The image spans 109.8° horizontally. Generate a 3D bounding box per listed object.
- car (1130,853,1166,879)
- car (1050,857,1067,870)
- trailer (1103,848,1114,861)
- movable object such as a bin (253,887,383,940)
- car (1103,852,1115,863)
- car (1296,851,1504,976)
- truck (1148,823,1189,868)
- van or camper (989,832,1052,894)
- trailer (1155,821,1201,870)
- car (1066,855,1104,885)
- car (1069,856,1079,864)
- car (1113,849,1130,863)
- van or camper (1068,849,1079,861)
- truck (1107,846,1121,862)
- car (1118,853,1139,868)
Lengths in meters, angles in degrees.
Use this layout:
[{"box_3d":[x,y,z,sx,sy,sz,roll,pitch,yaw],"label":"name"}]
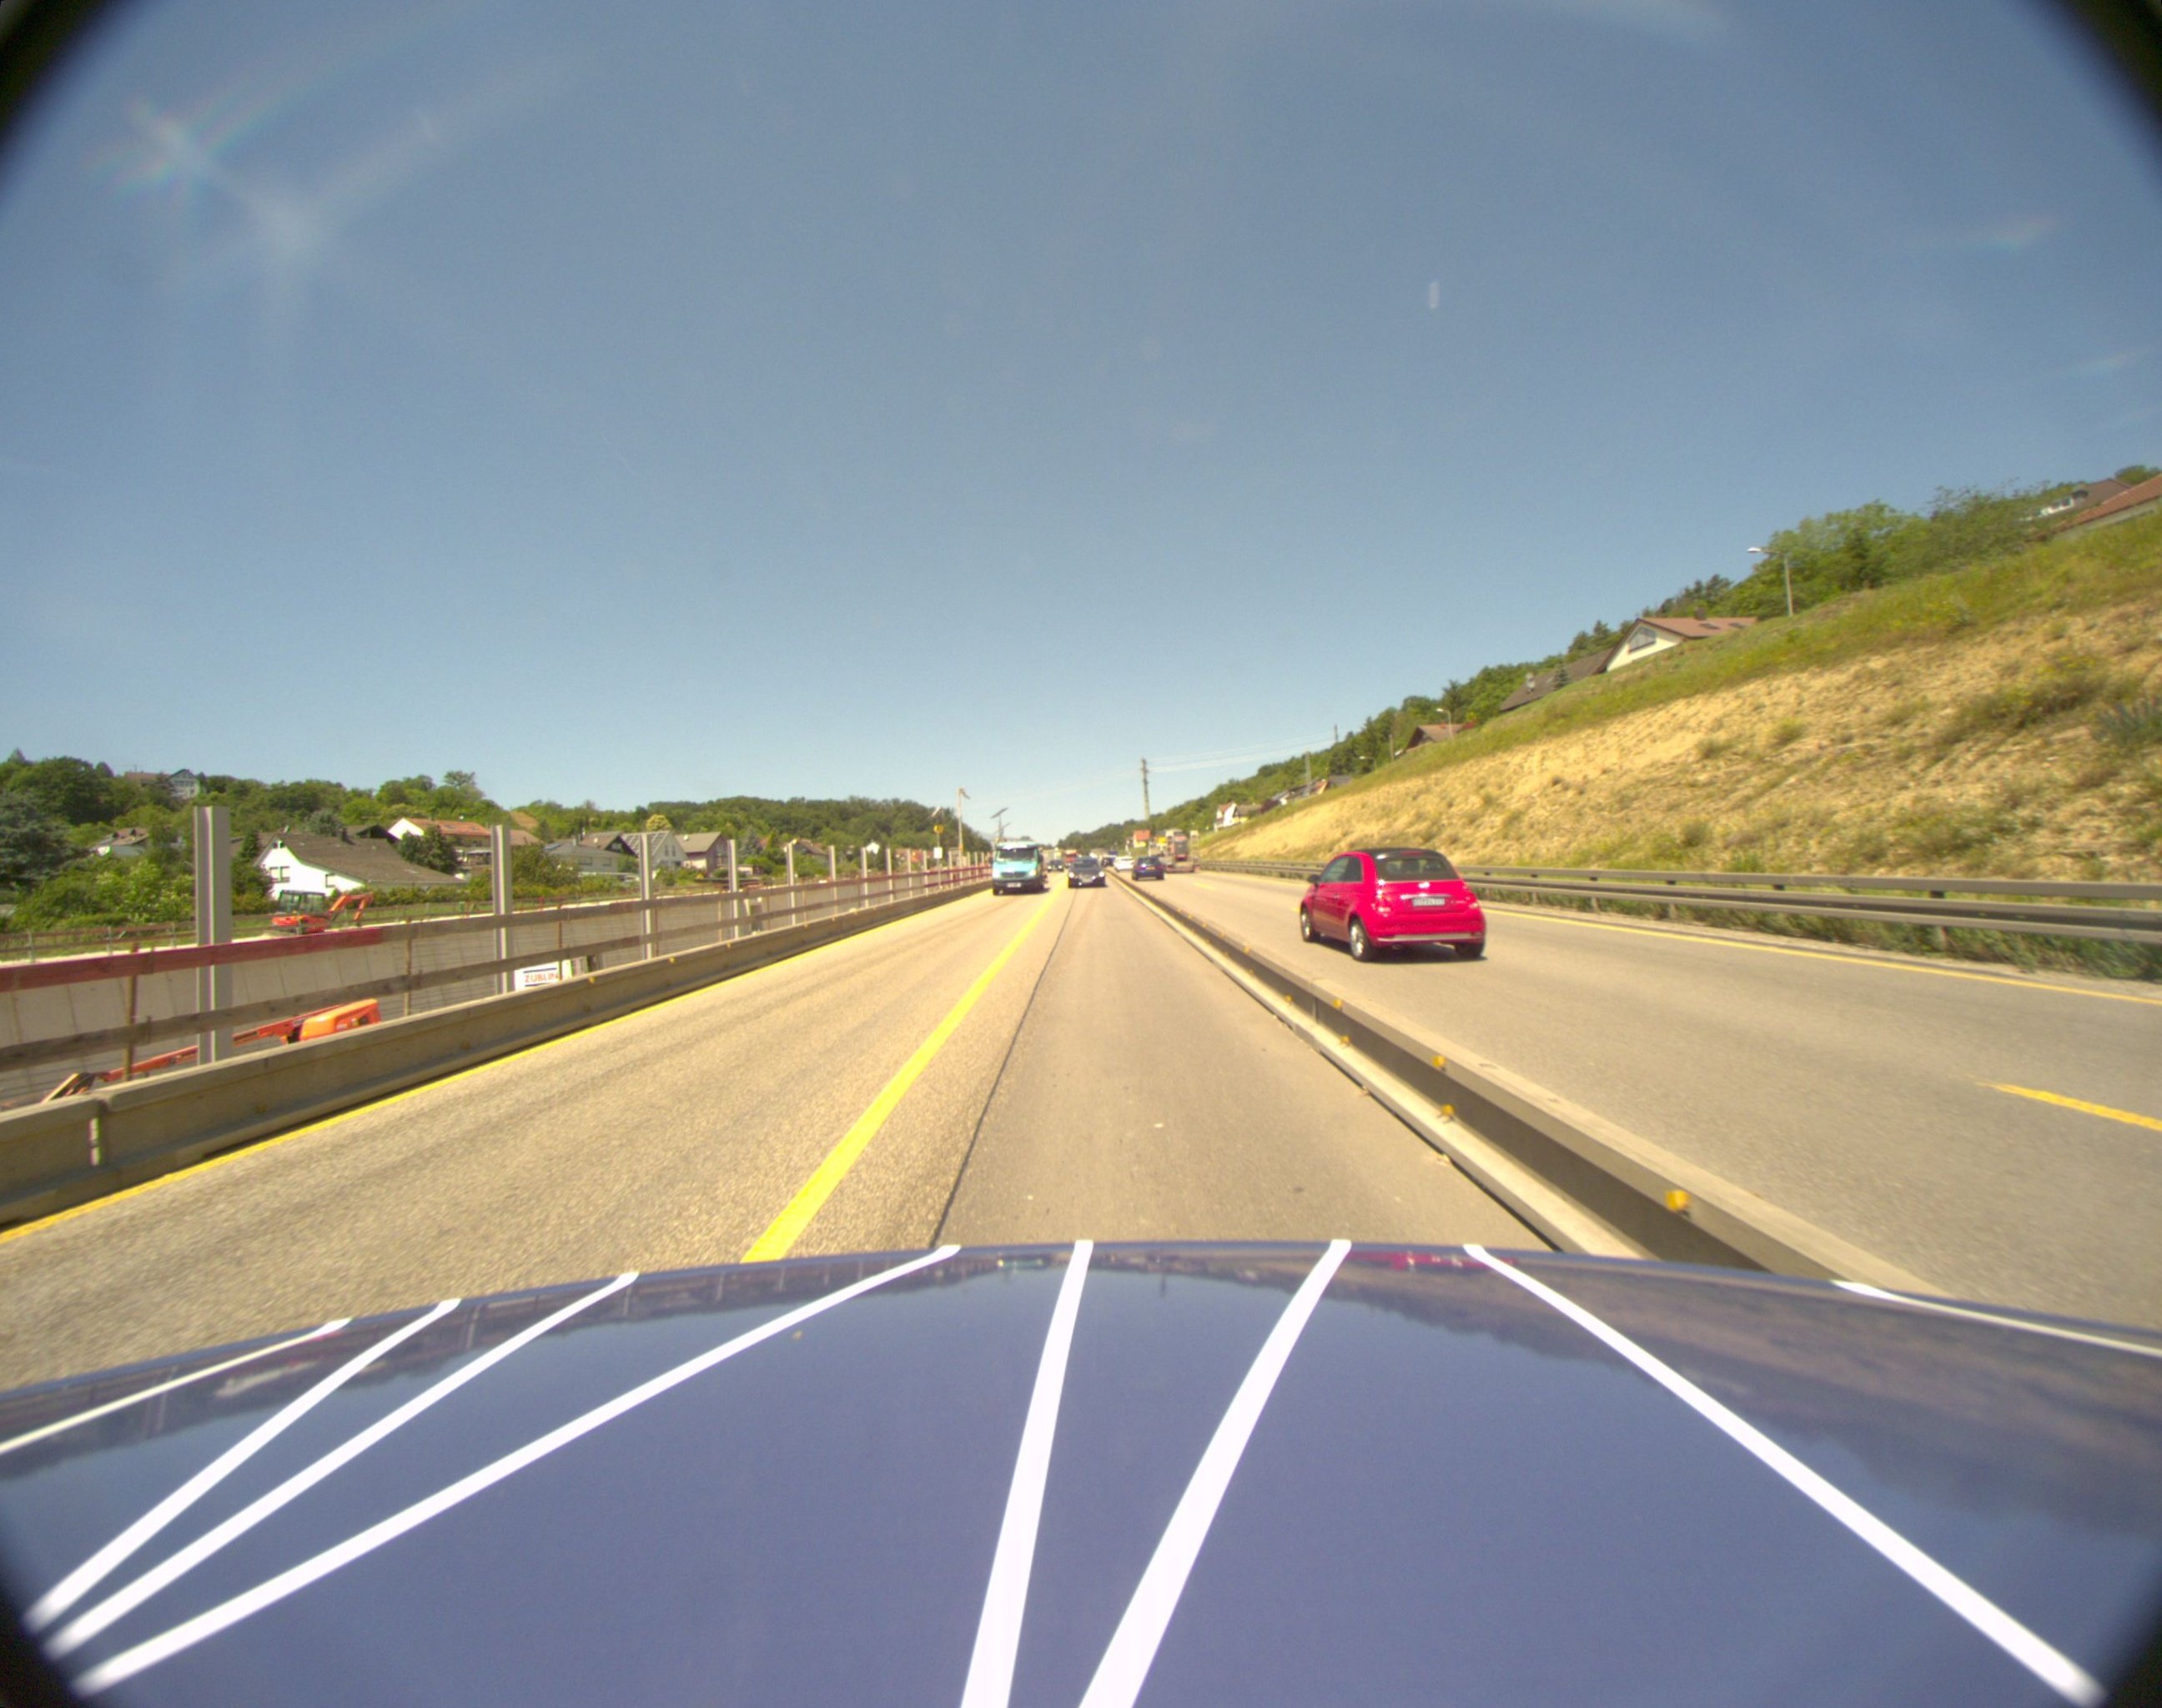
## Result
[{"box_3d":[3.887,0.674,44.573,1.689,1.421,3.849,-2,0,-1],"label":"car"},{"box_3d":[-2.476,1.099,84.503,1.611,1.324,3.496,-3,-1,1],"label":"car"},{"box_3d":[9.305,0.132,257.742,2.817,4.261,14.035,-3,0,0],"label":"trailer"},{"box_3d":[-37.121,2.836,37.129,1.998,2.226,4.152,-2,0,1],"label":"movable object such as a bin"},{"box_3d":[4.556,0.600,125.477,1.895,1.698,4.561,-2,0,1],"label":"car"},{"box_3d":[4.368,0.727,10.943,1.594,1.478,3.295,-2,0,1],"label":"car"},{"box_3d":[7.796,-0.685,68.685,2.593,3.701,9.332,-2,0,0],"label":"truck"},{"box_3d":[-2.643,0.401,35.011,2.097,2.458,7.672,-2,-1,1],"label":"van or camper"},{"box_3d":[7.719,-0.641,61.655,2.593,3.616,9.078,-2,0,0],"label":"trailer"},{"box_3d":[0.213,0.777,37.842,1.747,1.420,4.000,-1,-1,1],"label":"car"},{"box_3d":[-1.358,1.194,157.504,1.895,1.698,4.561,-2,0,1],"label":"car"},{"box_3d":[4.580,0.235,86.324,1.689,1.421,3.292,-2,0,-1],"label":"car"},{"box_3d":[-1.790,0.225,182.337,2.321,2.513,4.528,-4,0,1],"label":"van or camper"},{"box_3d":[9.062,-0.065,210.430,3.251,4.135,13.978,-2,0,0],"label":"truck"},{"box_3d":[4.474,0.600,72.661,1.689,1.421,4.122,-2,0,-1],"label":"car"}]
